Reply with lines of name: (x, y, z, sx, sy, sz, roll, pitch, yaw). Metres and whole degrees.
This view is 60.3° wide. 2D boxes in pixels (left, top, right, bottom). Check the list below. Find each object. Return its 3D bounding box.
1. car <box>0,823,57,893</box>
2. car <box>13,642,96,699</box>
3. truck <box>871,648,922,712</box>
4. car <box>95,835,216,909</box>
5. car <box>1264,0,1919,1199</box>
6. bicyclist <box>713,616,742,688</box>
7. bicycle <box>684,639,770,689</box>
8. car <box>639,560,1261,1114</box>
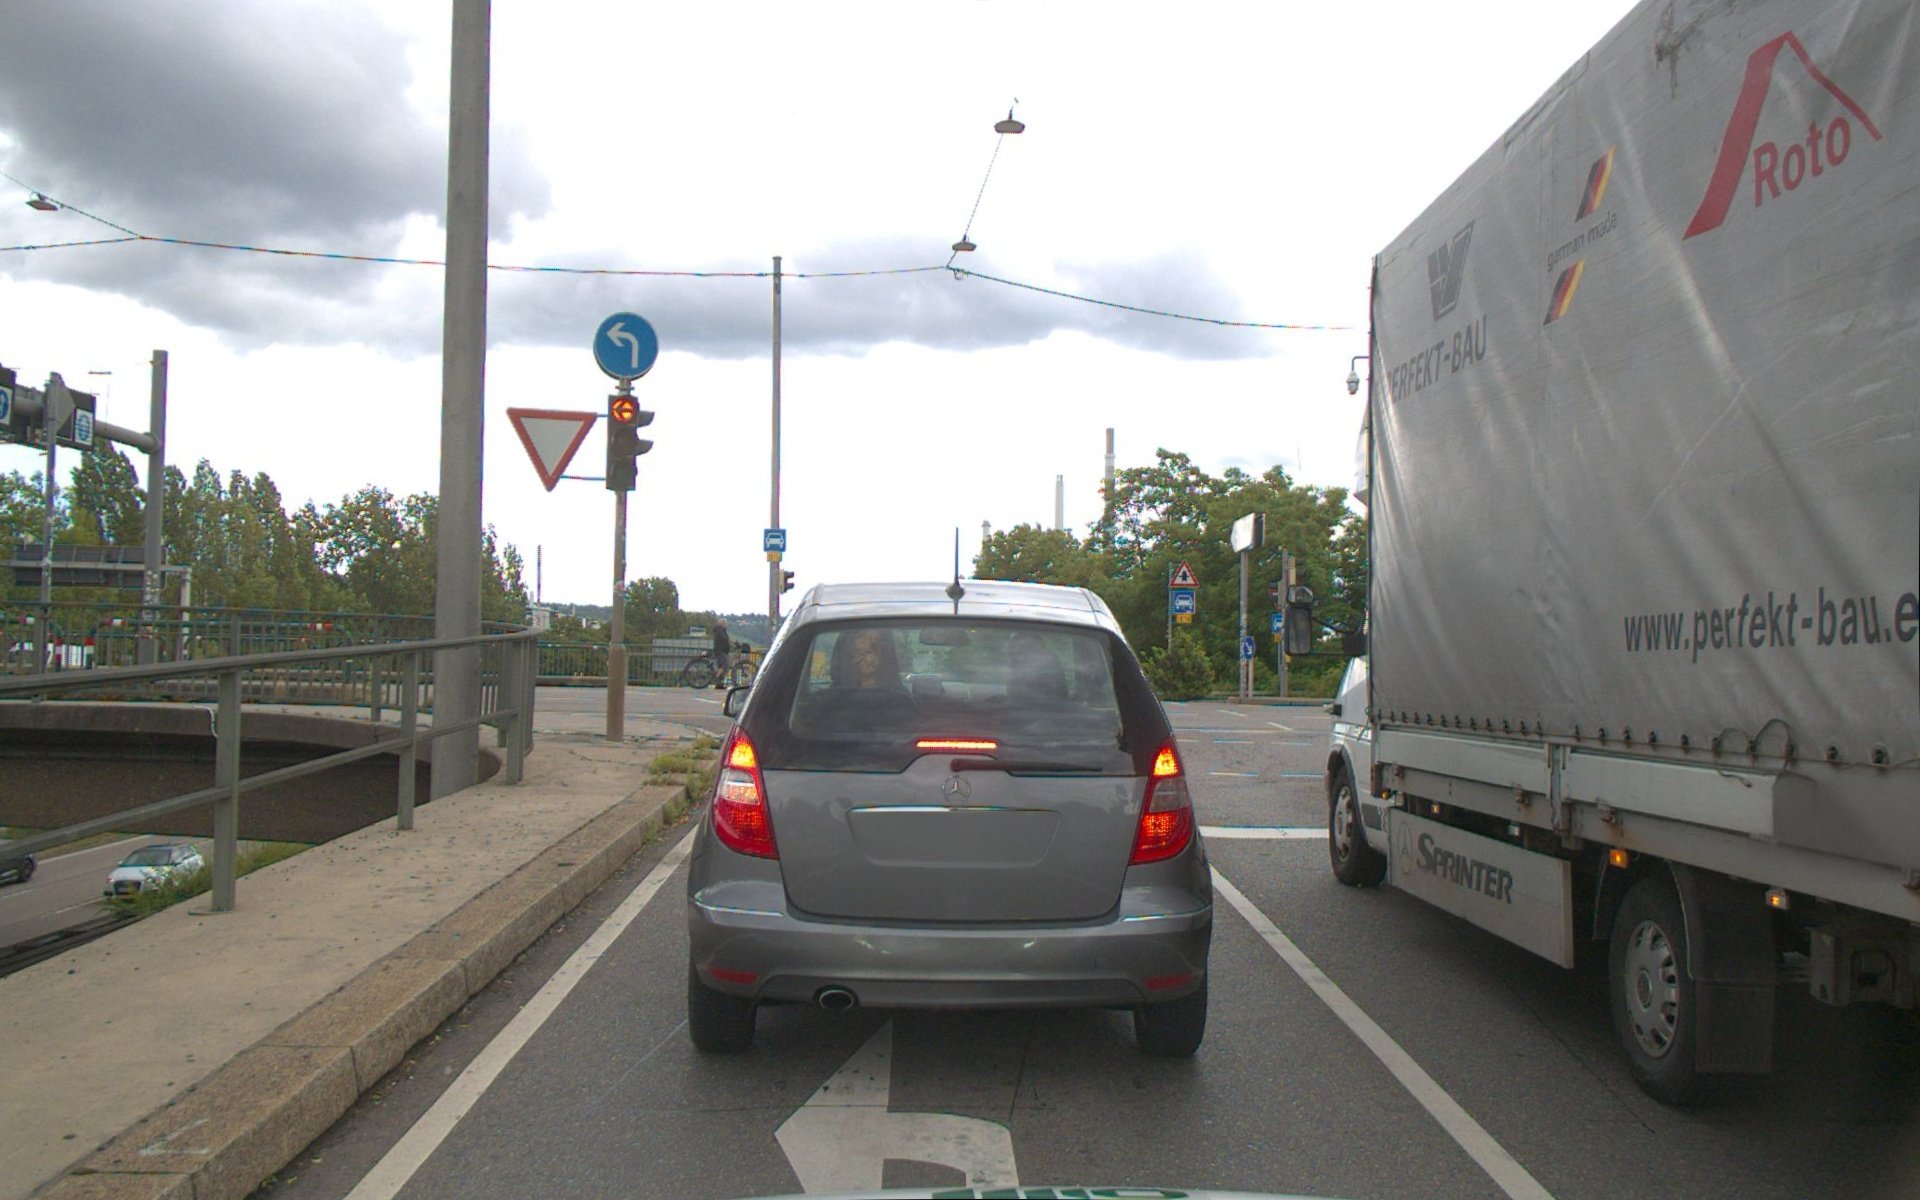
car: (-30.505, 8.173, 52.129, 1.895, 1.672, 4.106, 0, 0, -1)
car: (-38.960, 3.022, 71.248, 1.819, 2.254, 3.659, 0, 0, -5)
truck: (-4.177, 5.077, 106.932, 2.735, 3.580, 10.237, 0, 0, -5)
car: (-24.069, 8.117, 49.629, 1.743, 1.525, 3.997, 0, 0, -1)
car: (3.185, -0.156, 6.490, 2.604, 3.388, 7.089, 1, 0, -1)
bicyclist: (-5.617, 1.250, 39.955, 0.641, 1.703, 0.867, 0, 0, -11)
bicycle: (-5.629, 1.541, 39.941, 1.996, 1.144, 0.927, 0, 0, -12)
car: (0.015, 0.665, 6.859, 1.819, 1.616, 4.001, 0, 1, 1)
